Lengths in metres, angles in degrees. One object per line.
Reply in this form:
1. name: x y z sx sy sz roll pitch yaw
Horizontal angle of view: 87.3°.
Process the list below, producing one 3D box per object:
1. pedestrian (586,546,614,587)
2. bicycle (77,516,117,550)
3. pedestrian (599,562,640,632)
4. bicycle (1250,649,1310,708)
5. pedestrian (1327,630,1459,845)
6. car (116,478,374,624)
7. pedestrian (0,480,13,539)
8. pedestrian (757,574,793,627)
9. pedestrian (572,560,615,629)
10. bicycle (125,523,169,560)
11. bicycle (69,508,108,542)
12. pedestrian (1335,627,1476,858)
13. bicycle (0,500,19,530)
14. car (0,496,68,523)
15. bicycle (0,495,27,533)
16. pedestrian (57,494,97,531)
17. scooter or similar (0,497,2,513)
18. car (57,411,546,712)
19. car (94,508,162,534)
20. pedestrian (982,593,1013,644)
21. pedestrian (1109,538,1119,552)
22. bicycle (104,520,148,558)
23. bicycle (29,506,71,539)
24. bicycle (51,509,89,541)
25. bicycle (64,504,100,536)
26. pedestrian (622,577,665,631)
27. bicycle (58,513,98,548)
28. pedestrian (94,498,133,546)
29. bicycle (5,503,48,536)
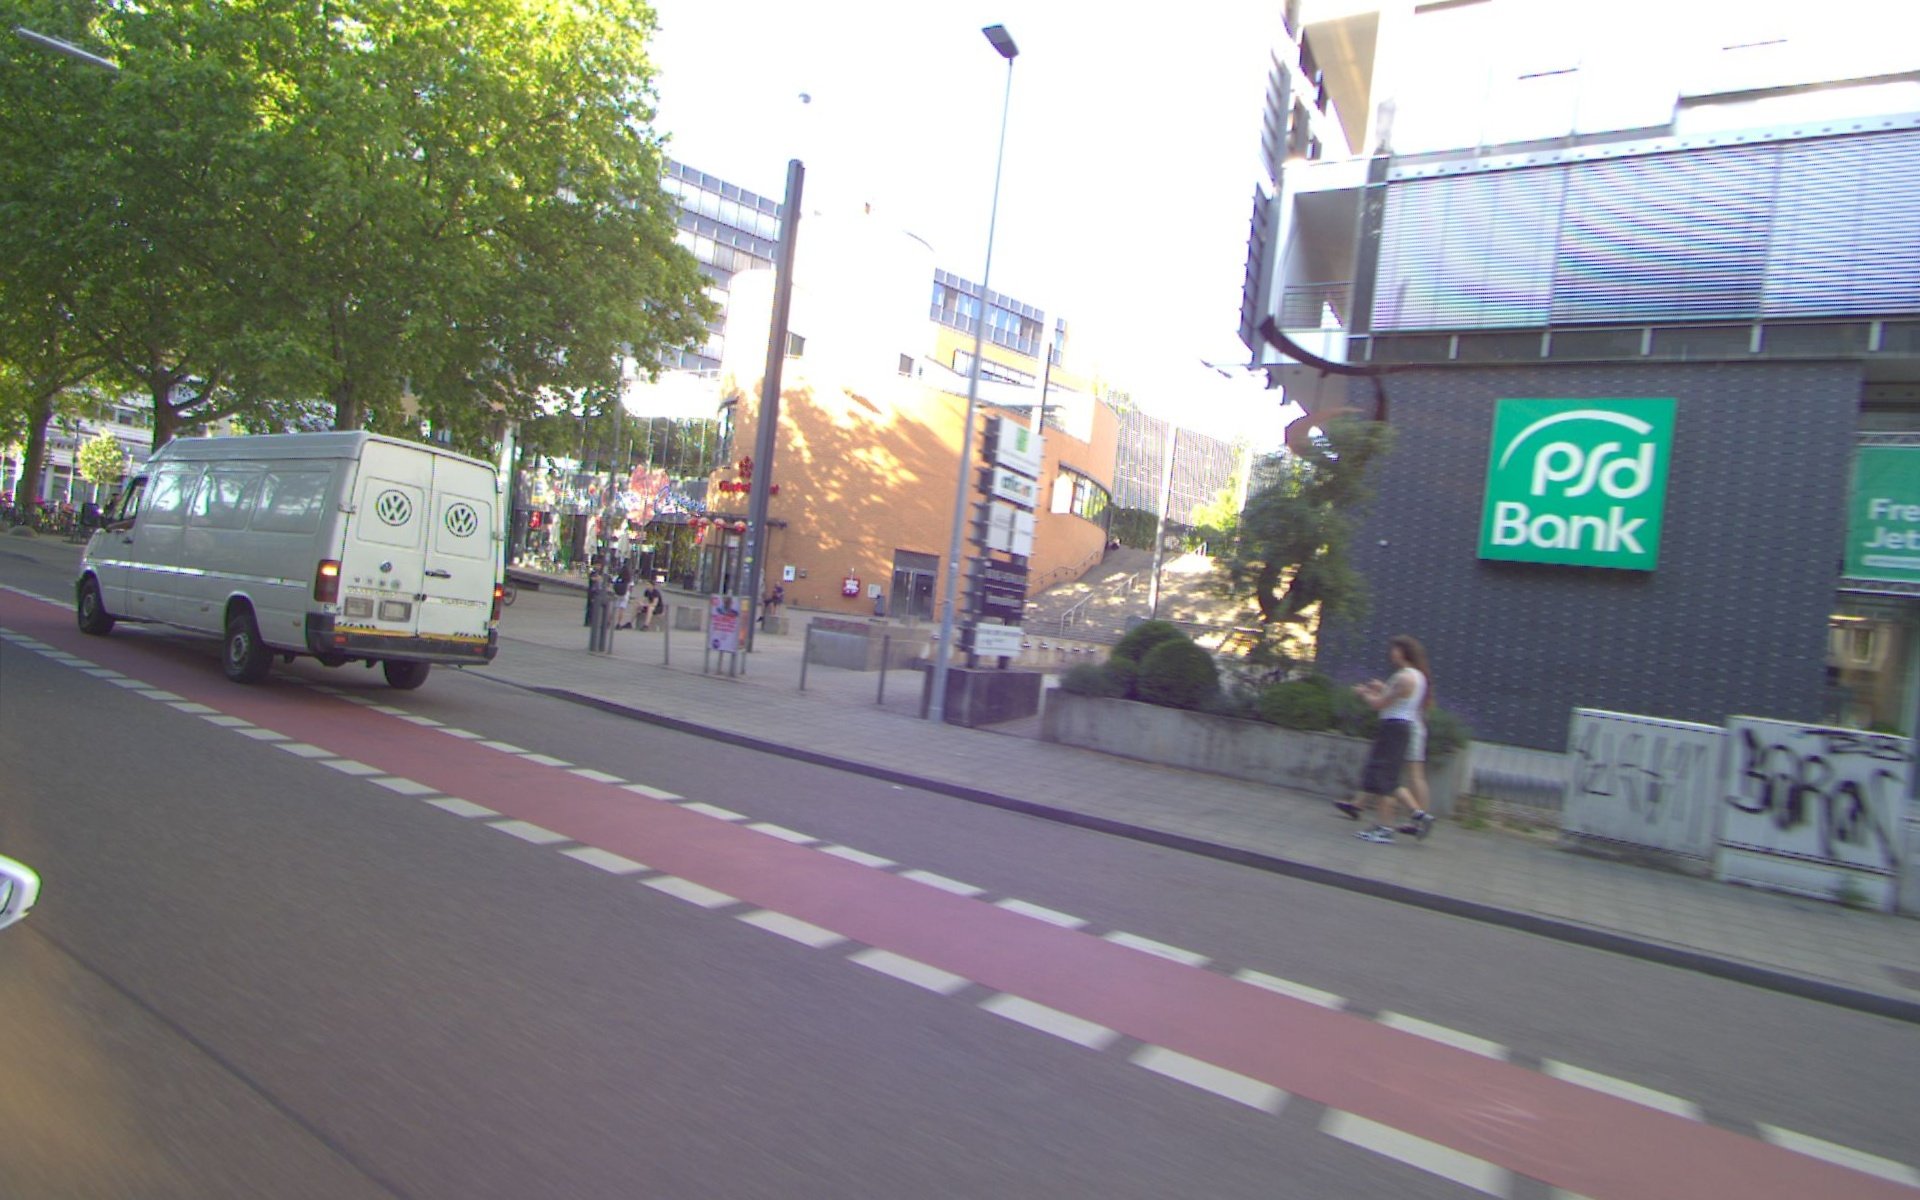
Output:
1. pedestrian: -17.413 -1.622 48.640 0.984 1.867 0.849 6 1 -14
2. bicycle: -29.072 -2.257 33.888 1.733 0.993 0.451 7 1 32
3. pedestrian: -8.033 -0.070 23.708 0.626 1.542 0.515 7 1 38
4. bicycle: 6.615 1.615 20.752 0.688 1.077 1.877 7 0 30
5. pedestrian: 4.062 1.252 9.436 0.881 1.831 0.590 7 1 31
6. car: -13.474 -0.958 18.842 5.205 2.160 2.124 7 0 34
7. pedestrian: -30.484 -2.890 31.505 0.795 1.808 0.873 7 1 29
8. pedestrian: -5.549 0.016 30.195 0.591 1.474 0.712 7 1 31
9. pedestrian: -8.720 -0.125 23.937 0.628 1.562 0.576 7 1 38
10. bicycle: -25.152 -1.806 31.102 1.733 0.993 0.451 7 1 32
11. bicycle: -33.633 -2.883 38.822 1.626 1.151 0.503 7 1 28
12. pedestrian: 3.894 1.202 8.799 0.876 1.831 0.563 7 1 31
13. bicycle: -37.975 -3.370 39.899 0.602 1.130 1.809 6 0 -34
14. car: -77.087 -7.529 83.447 1.767 1.579 4.243 7 0 34
15. bicycle: -34.715 -3.159 36.516 1.844 1.280 0.596 7 1 28
16. pedestrian: -50.510 -5.012 57.535 1.023 1.843 1.213 6 -1 23
17. scooter or similar: -39.991 -3.763 40.814 0.899 1.154 1.260 5 -4 15
18. car: -7.883 -0.568 11.728 6.453 2.756 1.997 7 -1 32
19. car: -73.762 -7.001 89.222 1.767 1.579 4.243 7 0 34
20. pedestrian: 1.308 0.650 34.950 0.711 1.697 0.539 7 1 31
21. pedestrian: 9.990 -3.581 65.310 0.508 0.834 0.437 7 5 25
22. bicycle: -25.380 -1.857 30.597 1.733 0.993 0.451 7 1 32
23. bicycle: -34.176 -2.924 37.785 1.626 1.044 0.596 7 1 28
24. bicycle: -33.911 -2.871 38.326 1.626 1.044 0.503 7 1 28
25. bicycle: -37.150 -3.378 42.563 1.449 1.174 0.422 7 1 20
26. pedestrian: -7.811 0.105 24.835 0.666 1.236 0.614 7 1 35
27. bicycle: -29.263 -2.303 33.382 1.733 0.993 0.451 7 1 32
28. pedestrian: -34.470 -3.178 40.951 0.756 1.779 0.820 7 1 20
29. bicycle: -34.472 -2.989 37.147 1.626 1.044 0.596 7 1 28
